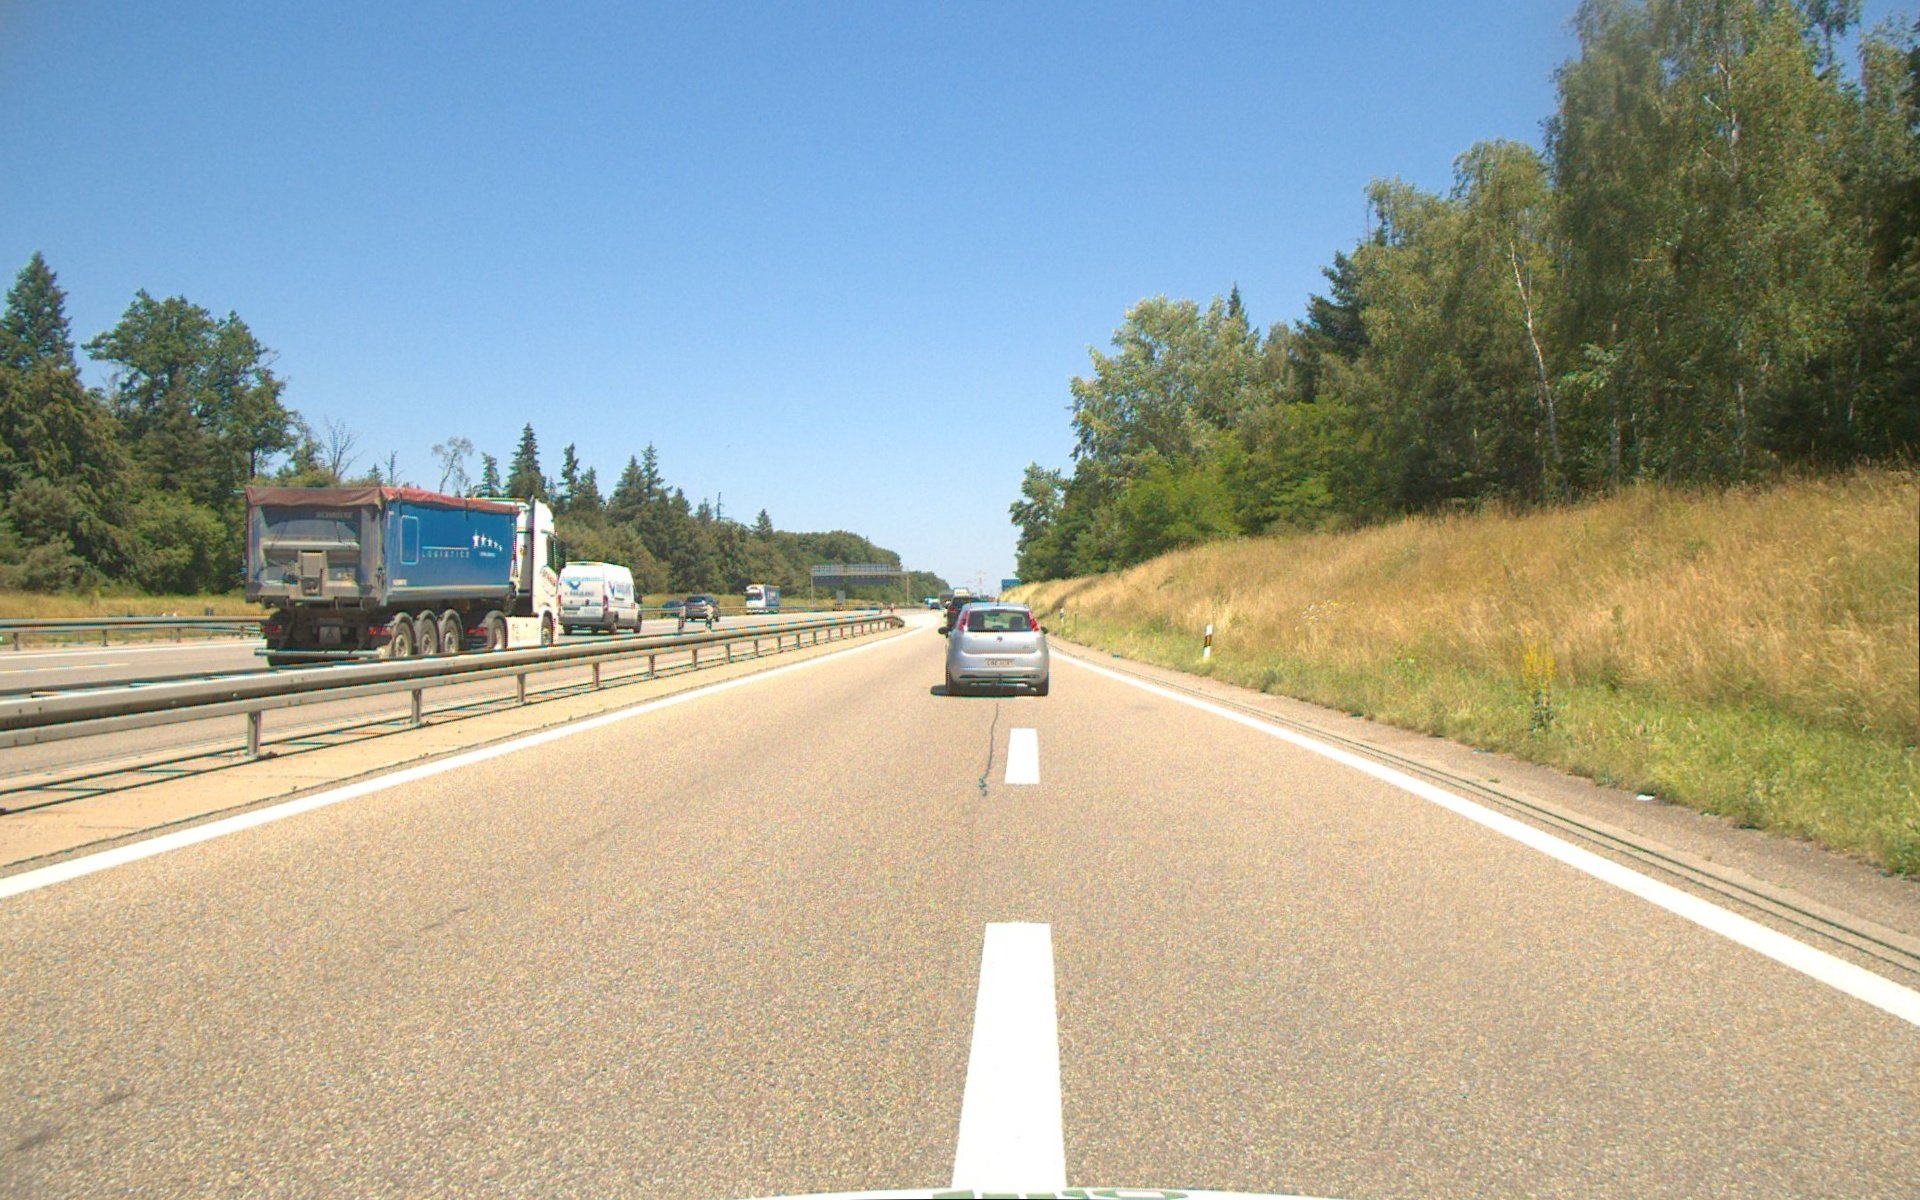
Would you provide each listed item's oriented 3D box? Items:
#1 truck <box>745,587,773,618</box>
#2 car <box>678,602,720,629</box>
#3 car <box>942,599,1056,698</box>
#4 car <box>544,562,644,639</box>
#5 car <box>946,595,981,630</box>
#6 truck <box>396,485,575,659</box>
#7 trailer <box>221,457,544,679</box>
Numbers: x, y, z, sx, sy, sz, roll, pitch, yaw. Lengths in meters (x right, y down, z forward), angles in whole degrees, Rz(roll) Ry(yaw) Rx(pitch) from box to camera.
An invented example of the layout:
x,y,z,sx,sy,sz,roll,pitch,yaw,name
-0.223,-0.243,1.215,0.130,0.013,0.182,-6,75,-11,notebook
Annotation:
x,y,z,sx,sy,sz,roll,pitch,yaw,name
-28.529,0.357,234.968,2.532,4.199,9.325,0,-1,2,truck
-16.256,0.975,103.250,1.953,1.646,3.999,0,-1,0,car
0.593,0.762,27.564,1.672,1.507,3.396,0,1,-3,car
-14.518,0.085,66.067,2.578,2.947,6.473,0,-1,0,car
0.149,0.637,82.553,1.671,1.706,3.396,0,-2,-1,car
-11.082,-0.635,39.063,2.699,3.874,4.623,0,0,3,truck
-11.342,-0.589,33.855,2.713,3.874,9.889,0,0,3,trailer
